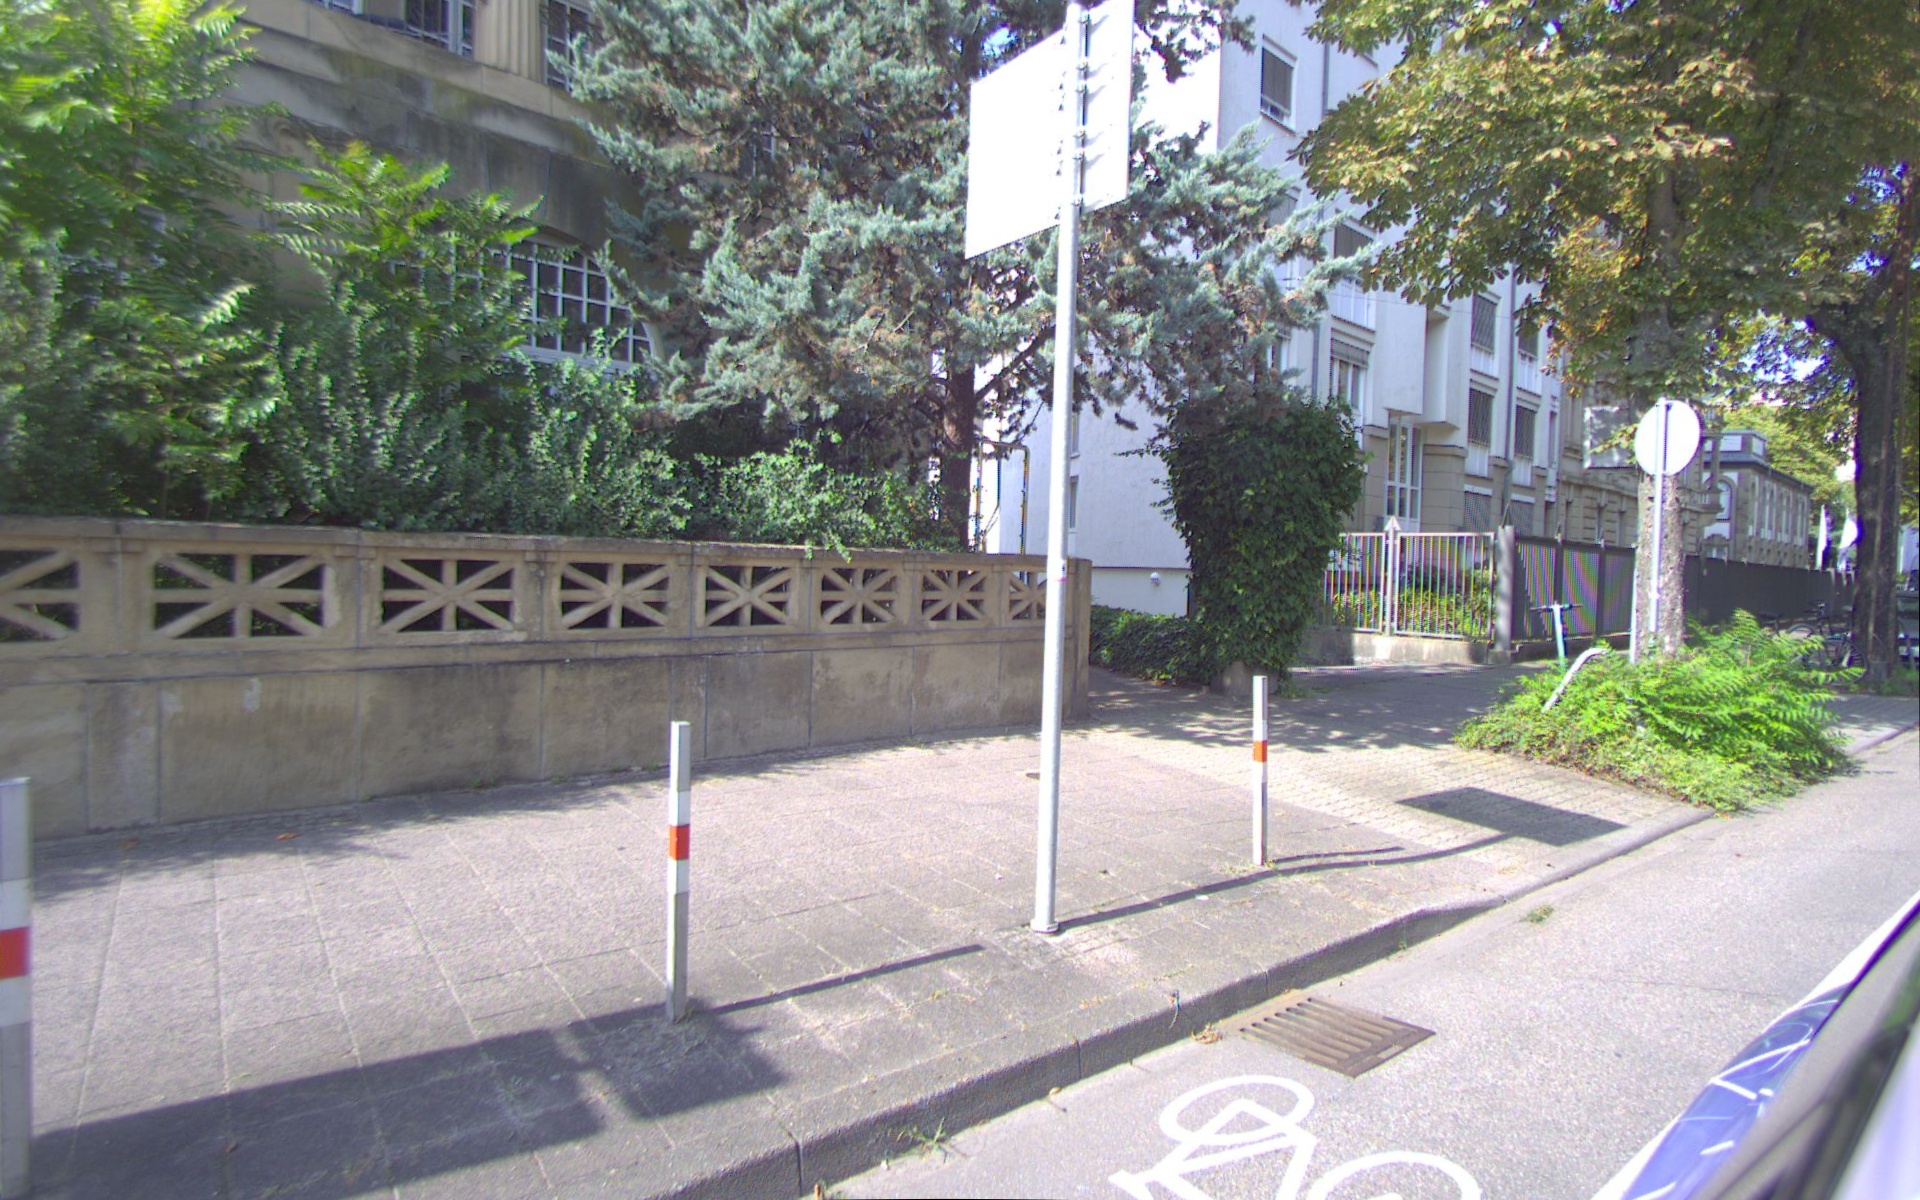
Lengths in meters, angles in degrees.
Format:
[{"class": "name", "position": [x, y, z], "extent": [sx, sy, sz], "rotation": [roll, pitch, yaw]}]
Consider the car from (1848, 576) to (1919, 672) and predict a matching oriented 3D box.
[{"class": "car", "position": [17.814, 0.417, 18.613], "extent": [4.282, 1.541, 1.610], "rotation": [0, 6, -42]}]

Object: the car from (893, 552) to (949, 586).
[{"class": "car", "position": [-1.988, -1.577, 50.488], "extent": [1.797, 1.585, 4.010], "rotation": [1, 2, -17]}]

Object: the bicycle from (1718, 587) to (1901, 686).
[{"class": "bicycle", "position": [11.761, 0.493, 14.063], "extent": [1.812, 1.179, 0.504], "rotation": [4, 8, 9]}]

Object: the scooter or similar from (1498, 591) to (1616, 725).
[{"class": "scooter or similar", "position": [5.912, 0.544, 10.023], "extent": [1.015, 1.211, 0.560], "rotation": [0, 5, -36]}]

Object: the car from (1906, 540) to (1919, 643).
[{"class": "car", "position": [26.422, -0.170, 26.298], "extent": [6.121, 2.529, 2.050], "rotation": [0, 3, -42]}]

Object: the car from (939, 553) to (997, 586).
[{"class": "car", "position": [0.363, -1.570, 51.202], "extent": [1.797, 1.585, 4.010], "rotation": [1, 2, -17]}]
